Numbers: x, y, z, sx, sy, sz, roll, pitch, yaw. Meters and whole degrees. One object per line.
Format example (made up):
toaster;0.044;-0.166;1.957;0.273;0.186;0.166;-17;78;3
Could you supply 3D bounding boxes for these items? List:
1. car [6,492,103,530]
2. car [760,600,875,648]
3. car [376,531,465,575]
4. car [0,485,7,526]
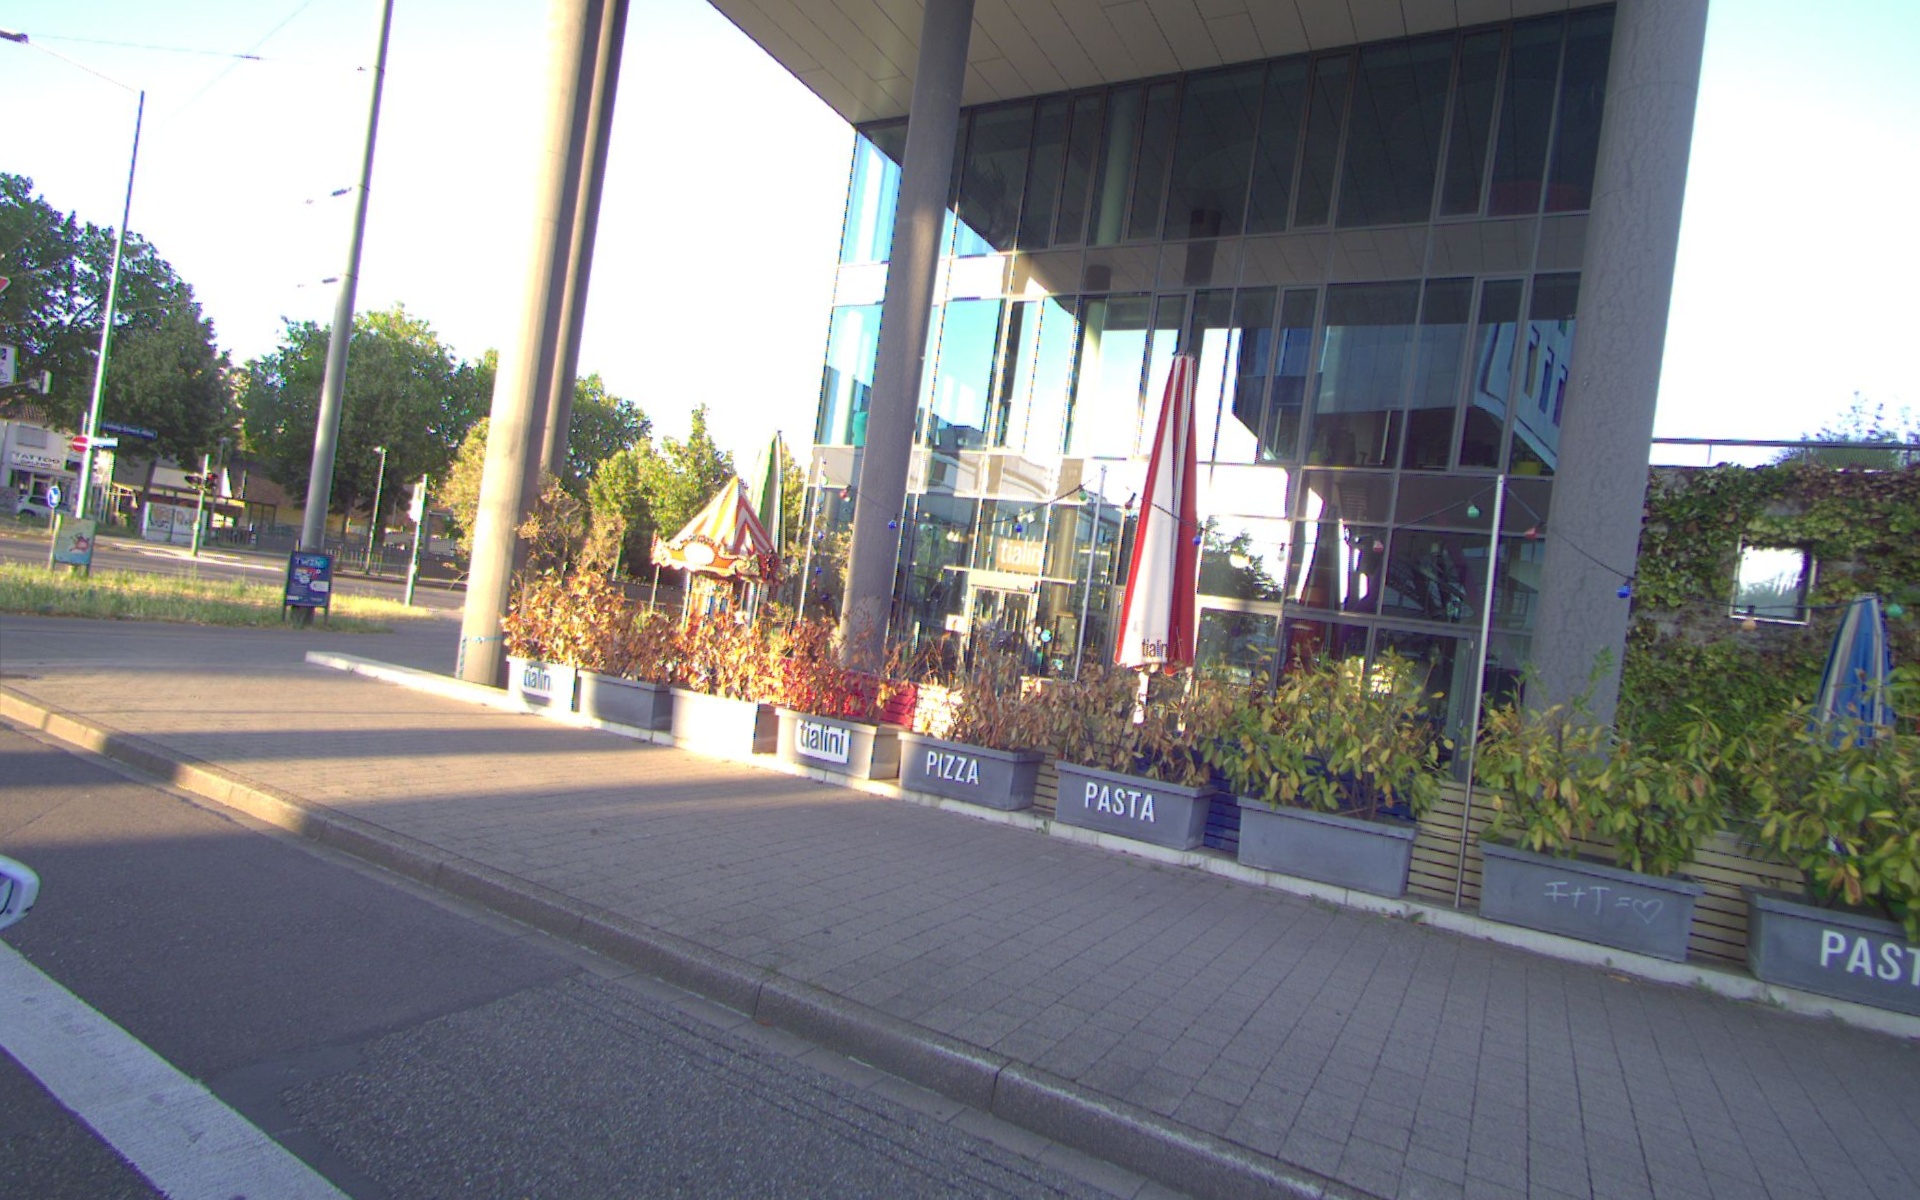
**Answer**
car;-50.393;-4.914;56.036;1.641;1.456;3.736;6;-2;41
car;-6.464;1.142;46.124;1.962;1.528;5.000;7;-2;44
car;-42.618;-3.683;79.540;2.197;2.581;5.594;7;-2;39
car;-40.070;-4.067;38.194;1.967;1.570;5.235;6;-2;31
